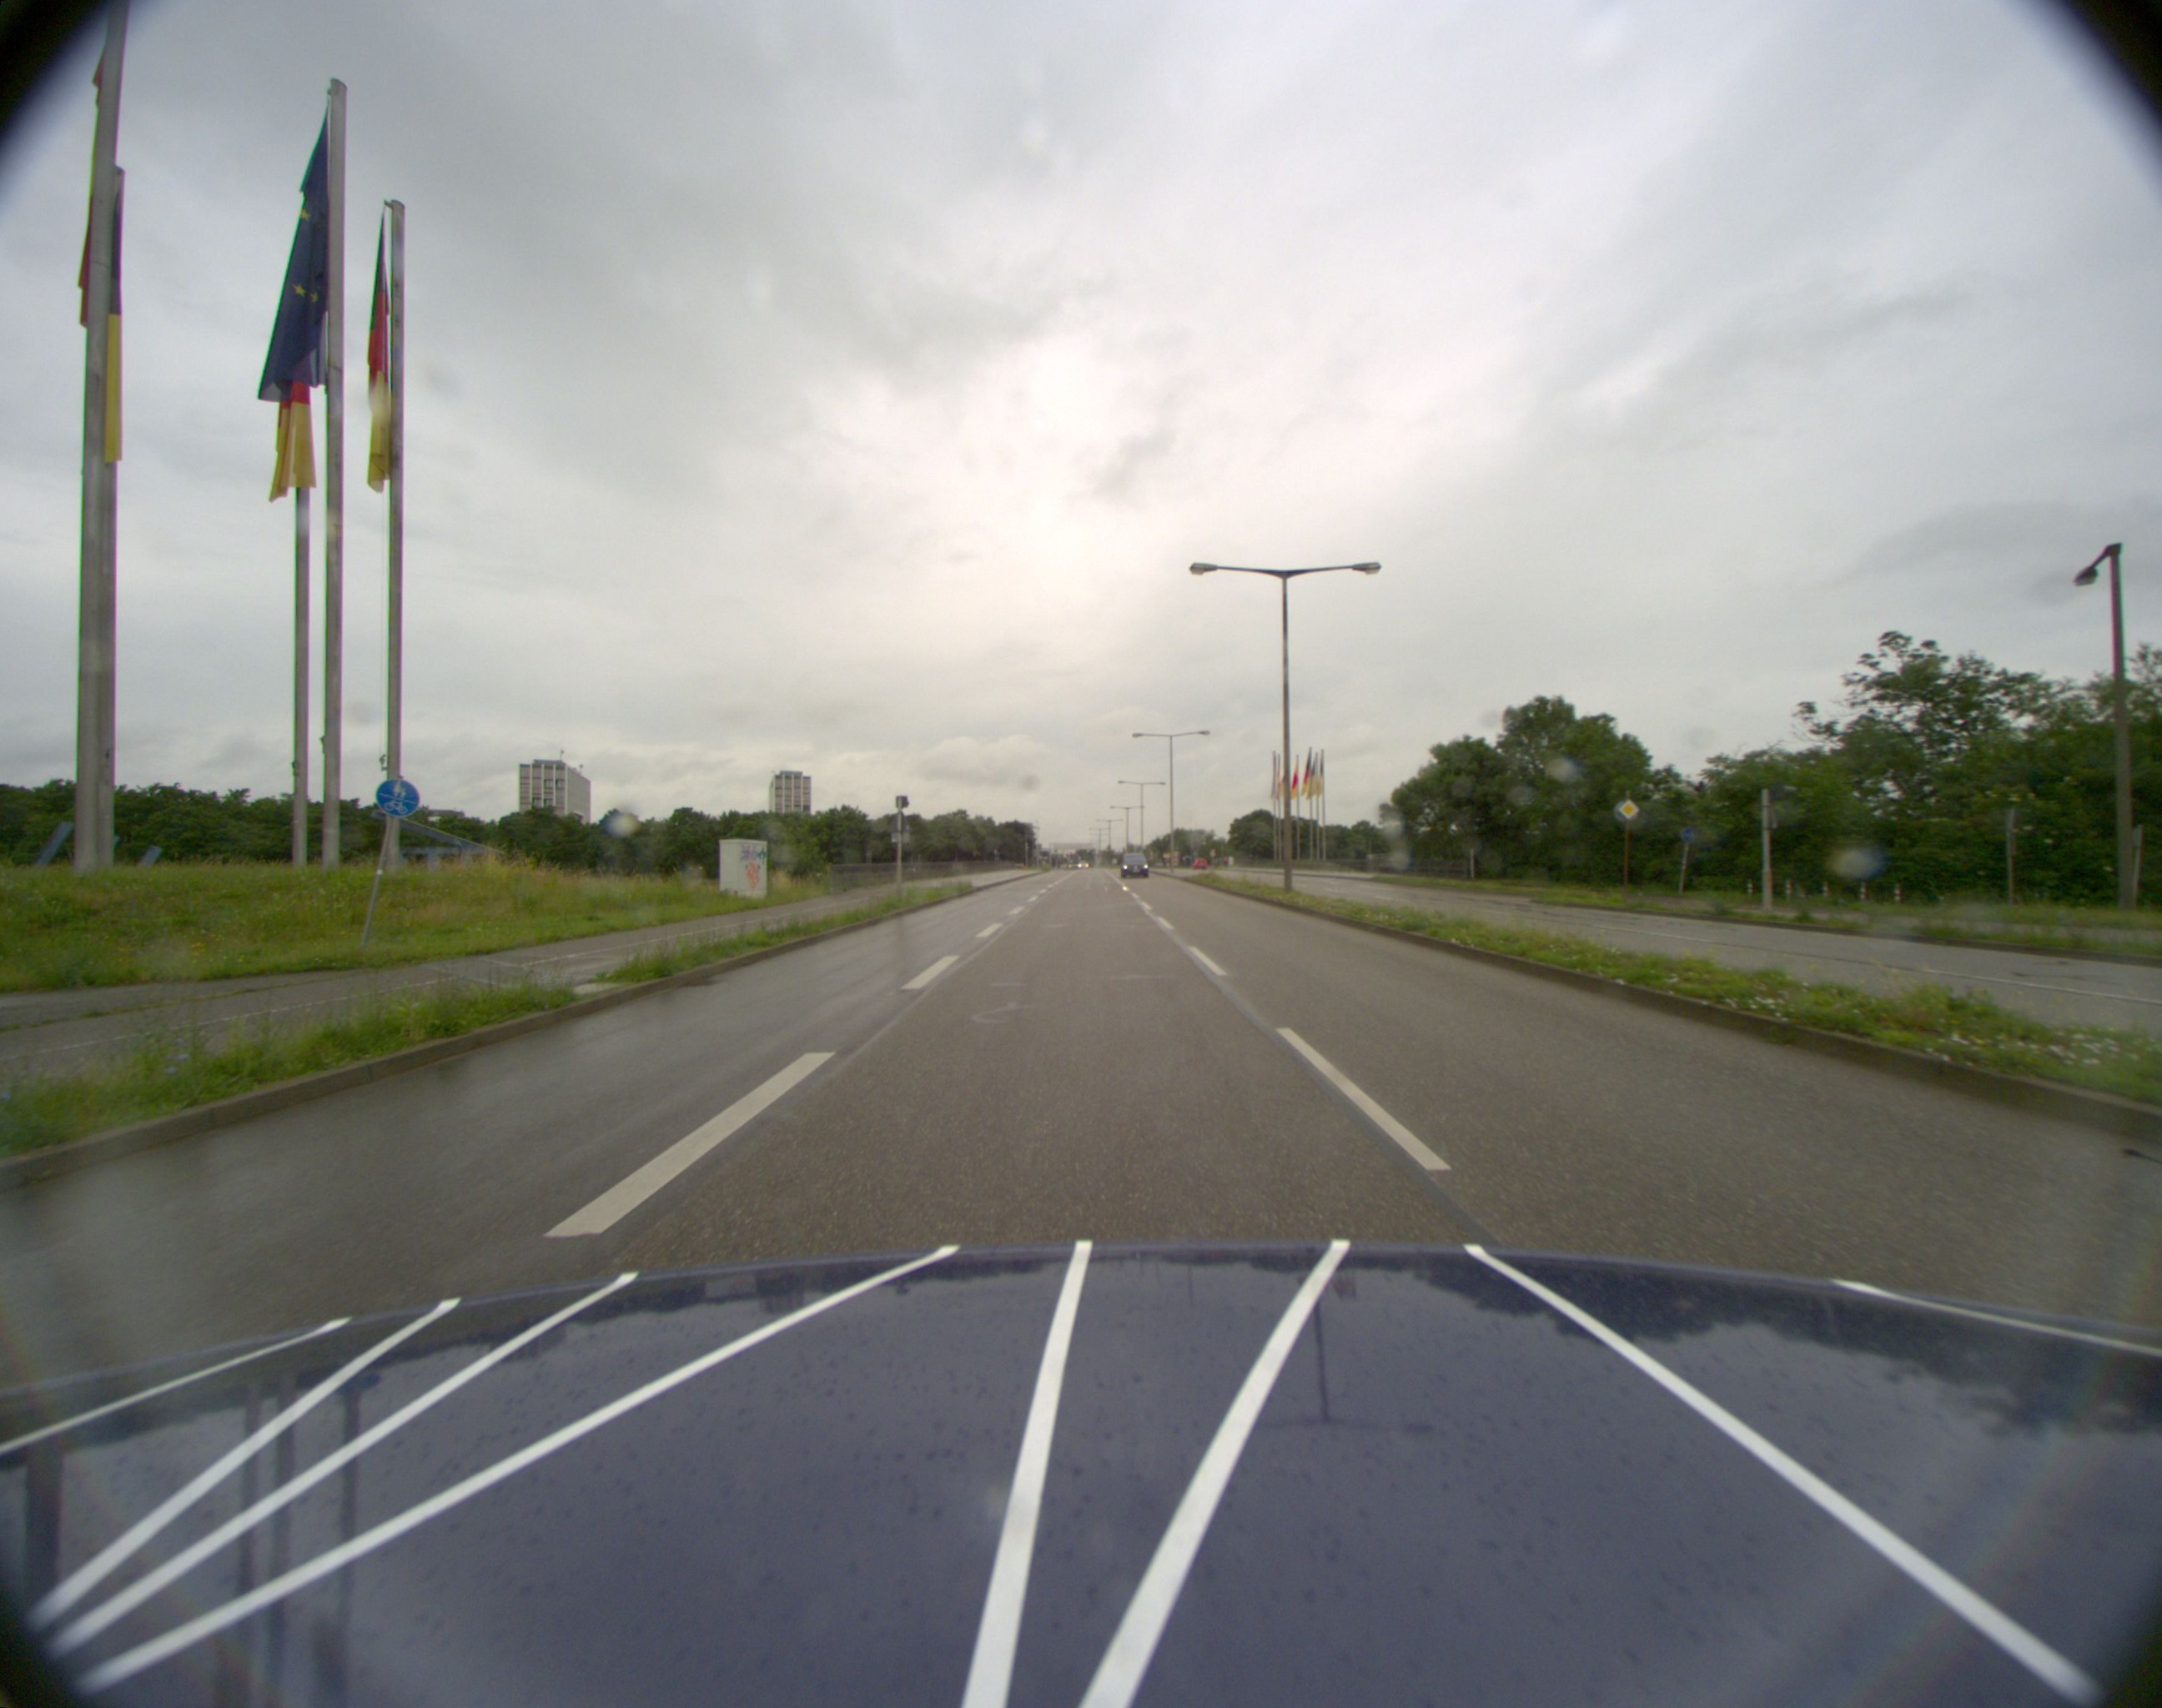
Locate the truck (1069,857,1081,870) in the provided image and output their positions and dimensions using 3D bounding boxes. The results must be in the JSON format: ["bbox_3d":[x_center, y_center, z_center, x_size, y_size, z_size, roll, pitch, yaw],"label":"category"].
[{"bbox_3d":[-1.445,2.271,187.681,2.860,3.196,8.096,-1,0,-1],"label":"truck"}]

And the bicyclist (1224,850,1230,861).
[{"bbox_3d":[21.158,0.235,110.311,0.621,1.491,1.003,-2,1,0],"label":"bicyclist"}]

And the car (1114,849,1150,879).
[{"bbox_3d":[3.564,0.673,54.259,1.851,1.741,4.814,-4,2,-3],"label":"car"}]

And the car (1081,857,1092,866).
[{"bbox_3d":[0.995,1.459,145.801,1.999,1.701,3.999,-1,0,-1],"label":"car"}]

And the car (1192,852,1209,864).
[{"bbox_3d":[16.166,0.530,102.760,1.664,1.440,3.557,1,0,0],"label":"car"}]

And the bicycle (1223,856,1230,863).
[{"bbox_3d":[21.183,0.772,110.319,0.611,1.027,2.001,-2,0,1],"label":"bicycle"}]
